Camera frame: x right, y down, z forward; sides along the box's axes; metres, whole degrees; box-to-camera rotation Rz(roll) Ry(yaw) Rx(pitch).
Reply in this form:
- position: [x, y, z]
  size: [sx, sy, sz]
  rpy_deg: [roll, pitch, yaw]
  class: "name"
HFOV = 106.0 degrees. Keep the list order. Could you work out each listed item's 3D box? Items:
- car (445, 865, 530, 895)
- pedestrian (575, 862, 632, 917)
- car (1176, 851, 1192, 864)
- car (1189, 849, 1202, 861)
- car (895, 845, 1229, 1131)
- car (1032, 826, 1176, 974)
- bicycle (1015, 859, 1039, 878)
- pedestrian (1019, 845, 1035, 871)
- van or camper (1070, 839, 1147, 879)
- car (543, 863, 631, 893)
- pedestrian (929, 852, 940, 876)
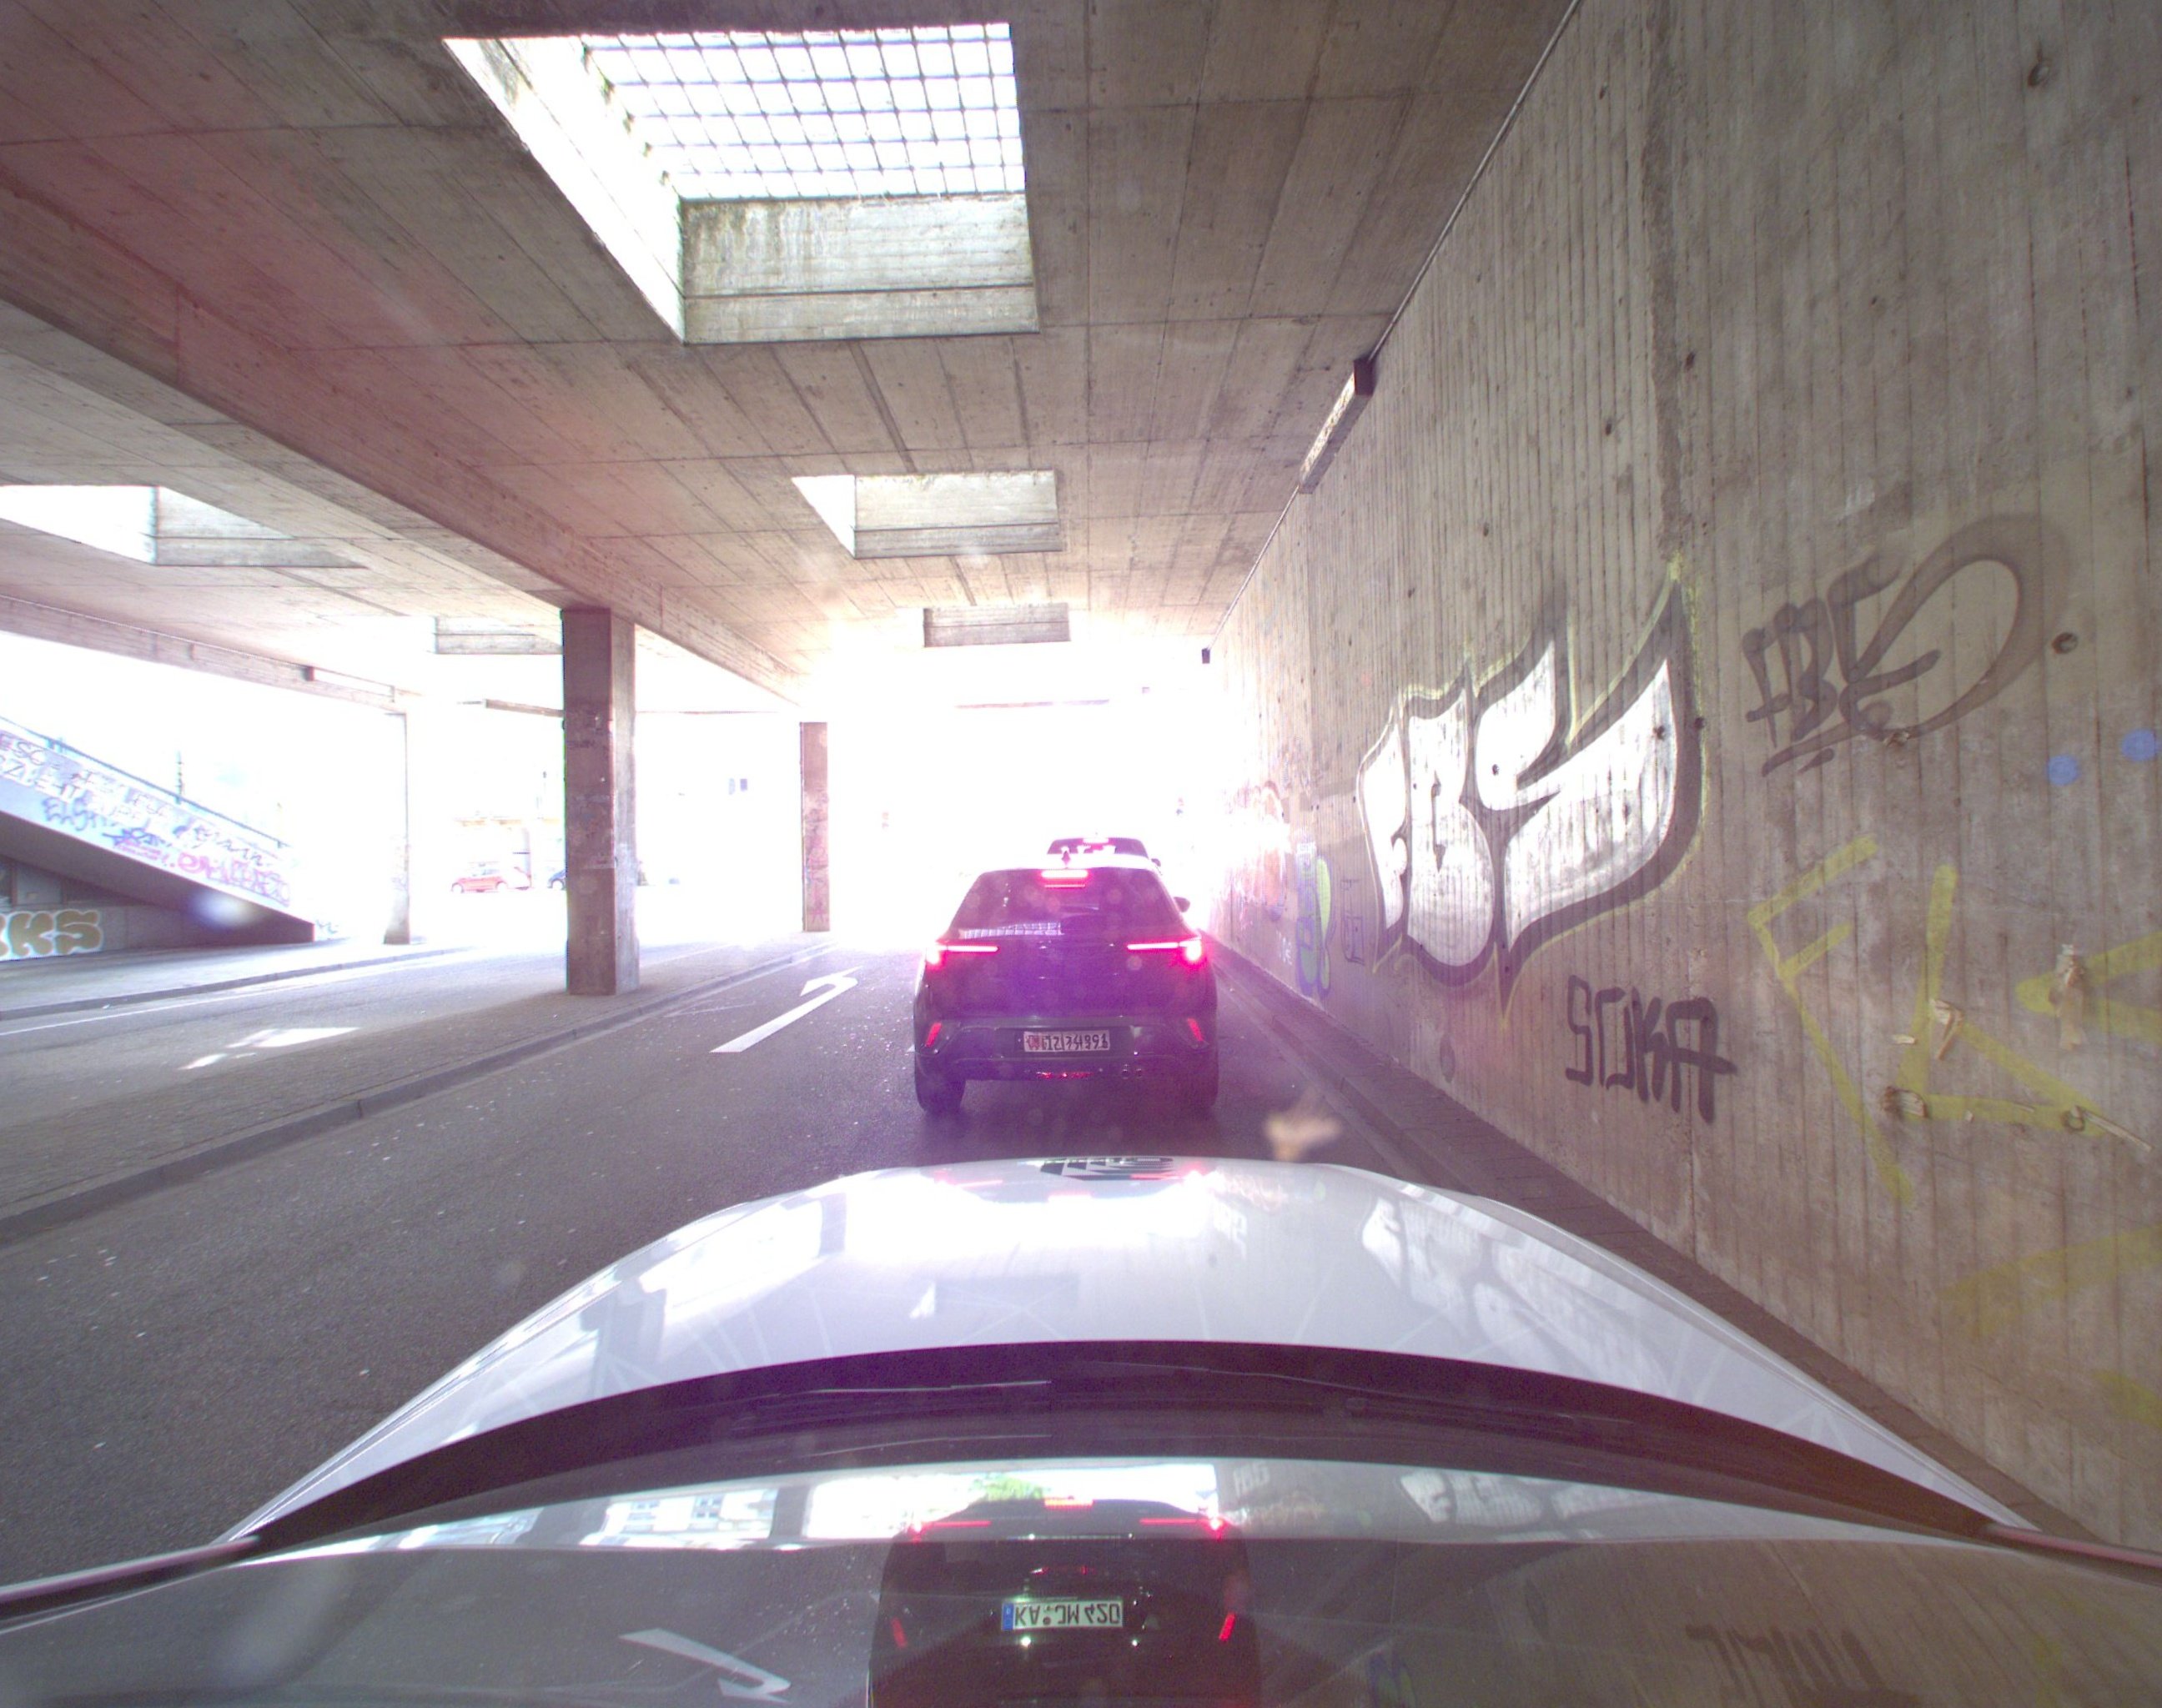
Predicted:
- position: [-32.844, 1.441, 45.109]
  size: [3.519, 1.506, 1.563]
  rpy_deg: [-2, 0, 2]
  class: "car"
- position: [-15.857, 1.169, 27.065]
  size: [1.103, 1.737, 1.146]
  rpy_deg: [-2, 0, 15]
  class: "pedestrian"
- position: [12.657, 0.413, 100.196]
  size: [1.588, 1.452, 3.808]
  rpy_deg: [-1, 0, 12]
  class: "car"
- position: [16.584, 0.091, 117.699]
  size: [1.573, 1.640, 3.819]
  rpy_deg: [-1, 0, 12]
  class: "car"
- position: [-0.027, 0.704, 6.282]
  size: [1.746, 1.498, 4.002]
  rpy_deg: [0, 0, 2]
  class: "car"
- position: [0.361, 0.570, 12.149]
  size: [1.779, 1.833, 3.962]
  rpy_deg: [-1, 0, 2]
  class: "car"
- position: [-3.413, 0.894, 51.575]
  size: [0.730, 1.130, 2.036]
  rpy_deg: [-2, 0, 19]
  class: "bicycle"
- position: [-3.397, 0.259, 51.663]
  size: [0.729, 1.585, 0.894]
  rpy_deg: [0, -1, 18]
  class: "pedestrian"
- position: [1.515, 0.275, 43.733]
  size: [3.854, 2.013, 2.005]
  rpy_deg: [-2, 0, 9]
  class: "van or camper"
- position: [-27.391, 1.290, 45.197]
  size: [3.742, 1.508, 1.752]
  rpy_deg: [-2, 0, 0]
  class: "car"
- position: [-10.706, 0.716, 59.510]
  size: [0.618, 1.705, 0.725]
  rpy_deg: [0, -1, 12]
  class: "pedestrian"
